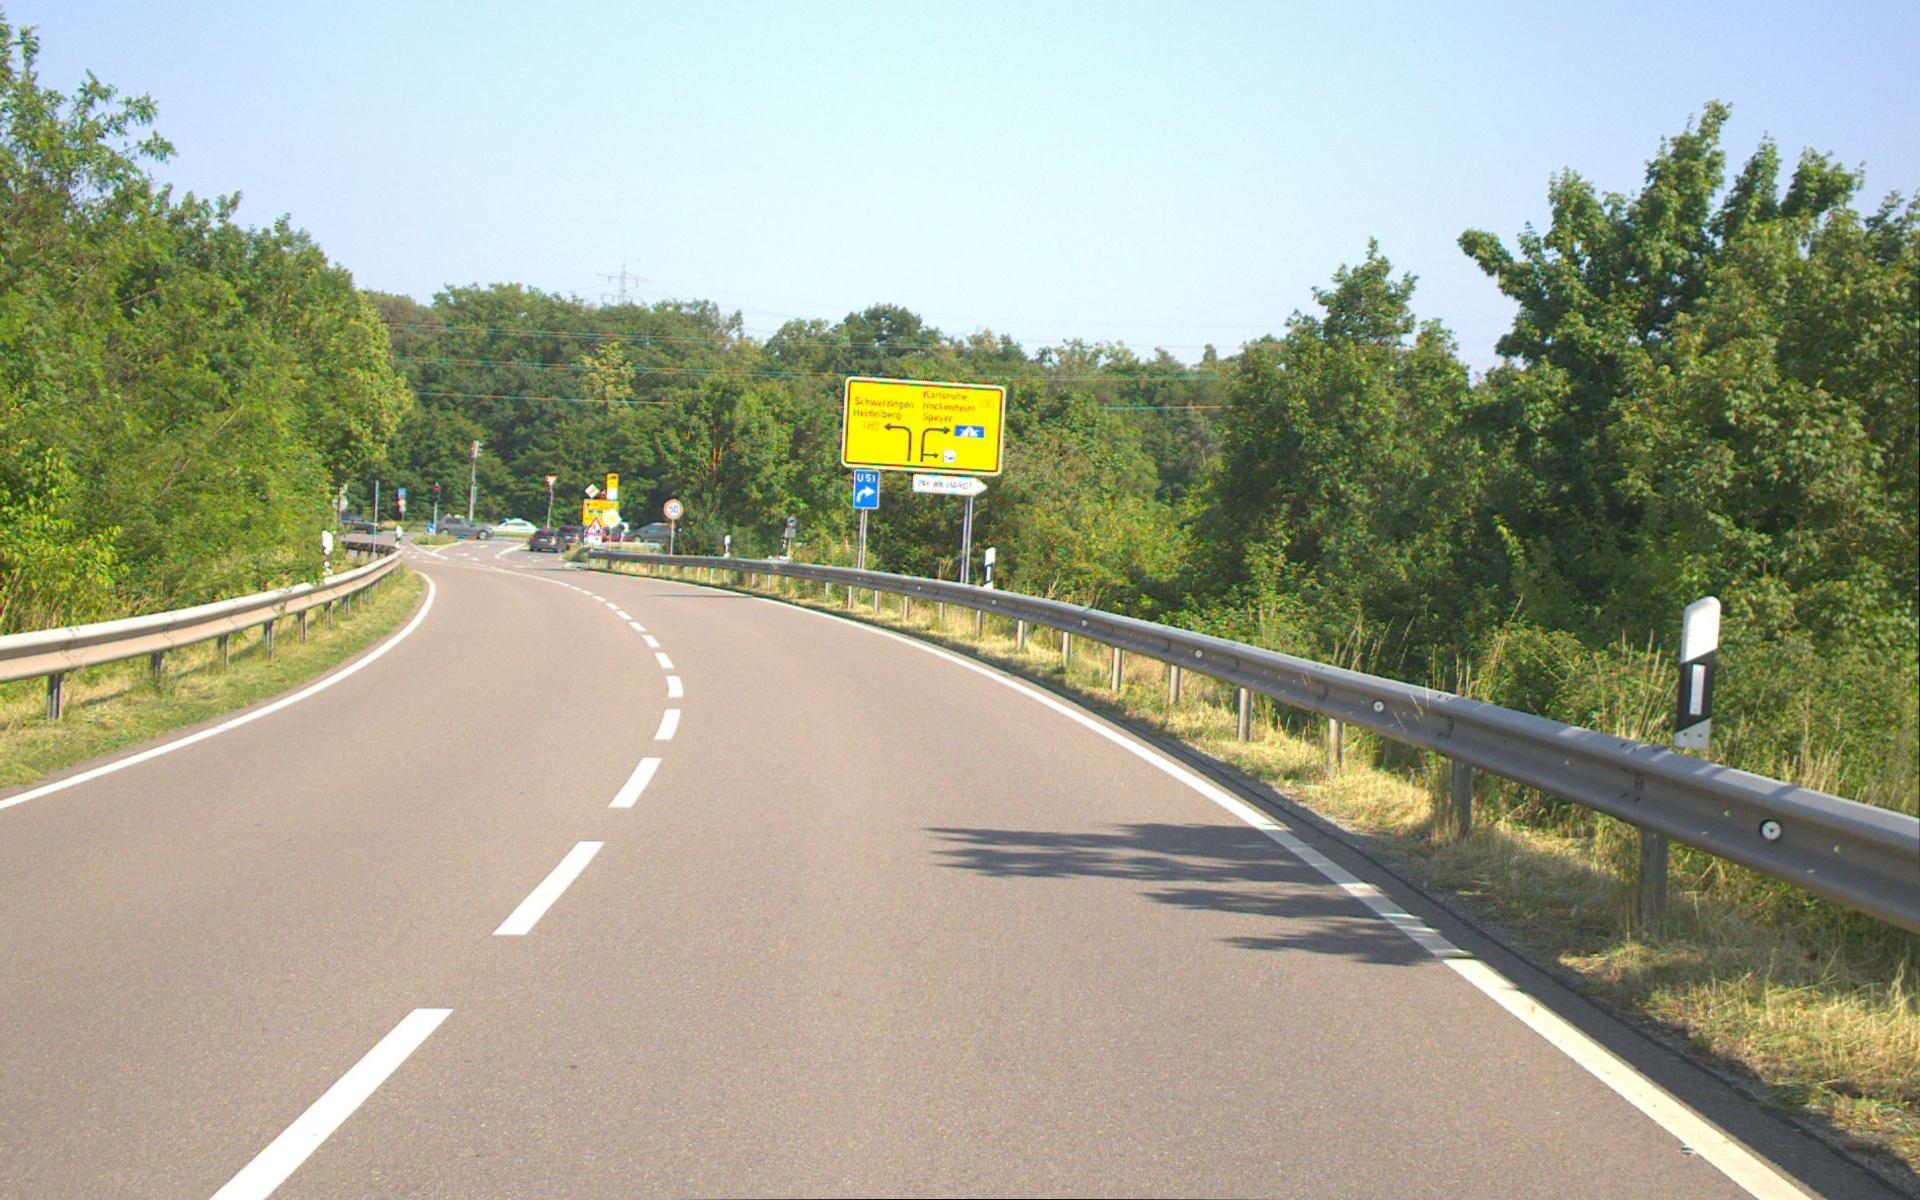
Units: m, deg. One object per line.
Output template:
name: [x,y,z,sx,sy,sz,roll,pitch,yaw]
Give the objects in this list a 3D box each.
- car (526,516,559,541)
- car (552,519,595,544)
car: [-26.291,-4.496,216.555,1.799,1.393,4.001,-5,2,-4]
car: [-25.202,-4.477,224.116,1.800,1.495,3.999,3,1,8]
